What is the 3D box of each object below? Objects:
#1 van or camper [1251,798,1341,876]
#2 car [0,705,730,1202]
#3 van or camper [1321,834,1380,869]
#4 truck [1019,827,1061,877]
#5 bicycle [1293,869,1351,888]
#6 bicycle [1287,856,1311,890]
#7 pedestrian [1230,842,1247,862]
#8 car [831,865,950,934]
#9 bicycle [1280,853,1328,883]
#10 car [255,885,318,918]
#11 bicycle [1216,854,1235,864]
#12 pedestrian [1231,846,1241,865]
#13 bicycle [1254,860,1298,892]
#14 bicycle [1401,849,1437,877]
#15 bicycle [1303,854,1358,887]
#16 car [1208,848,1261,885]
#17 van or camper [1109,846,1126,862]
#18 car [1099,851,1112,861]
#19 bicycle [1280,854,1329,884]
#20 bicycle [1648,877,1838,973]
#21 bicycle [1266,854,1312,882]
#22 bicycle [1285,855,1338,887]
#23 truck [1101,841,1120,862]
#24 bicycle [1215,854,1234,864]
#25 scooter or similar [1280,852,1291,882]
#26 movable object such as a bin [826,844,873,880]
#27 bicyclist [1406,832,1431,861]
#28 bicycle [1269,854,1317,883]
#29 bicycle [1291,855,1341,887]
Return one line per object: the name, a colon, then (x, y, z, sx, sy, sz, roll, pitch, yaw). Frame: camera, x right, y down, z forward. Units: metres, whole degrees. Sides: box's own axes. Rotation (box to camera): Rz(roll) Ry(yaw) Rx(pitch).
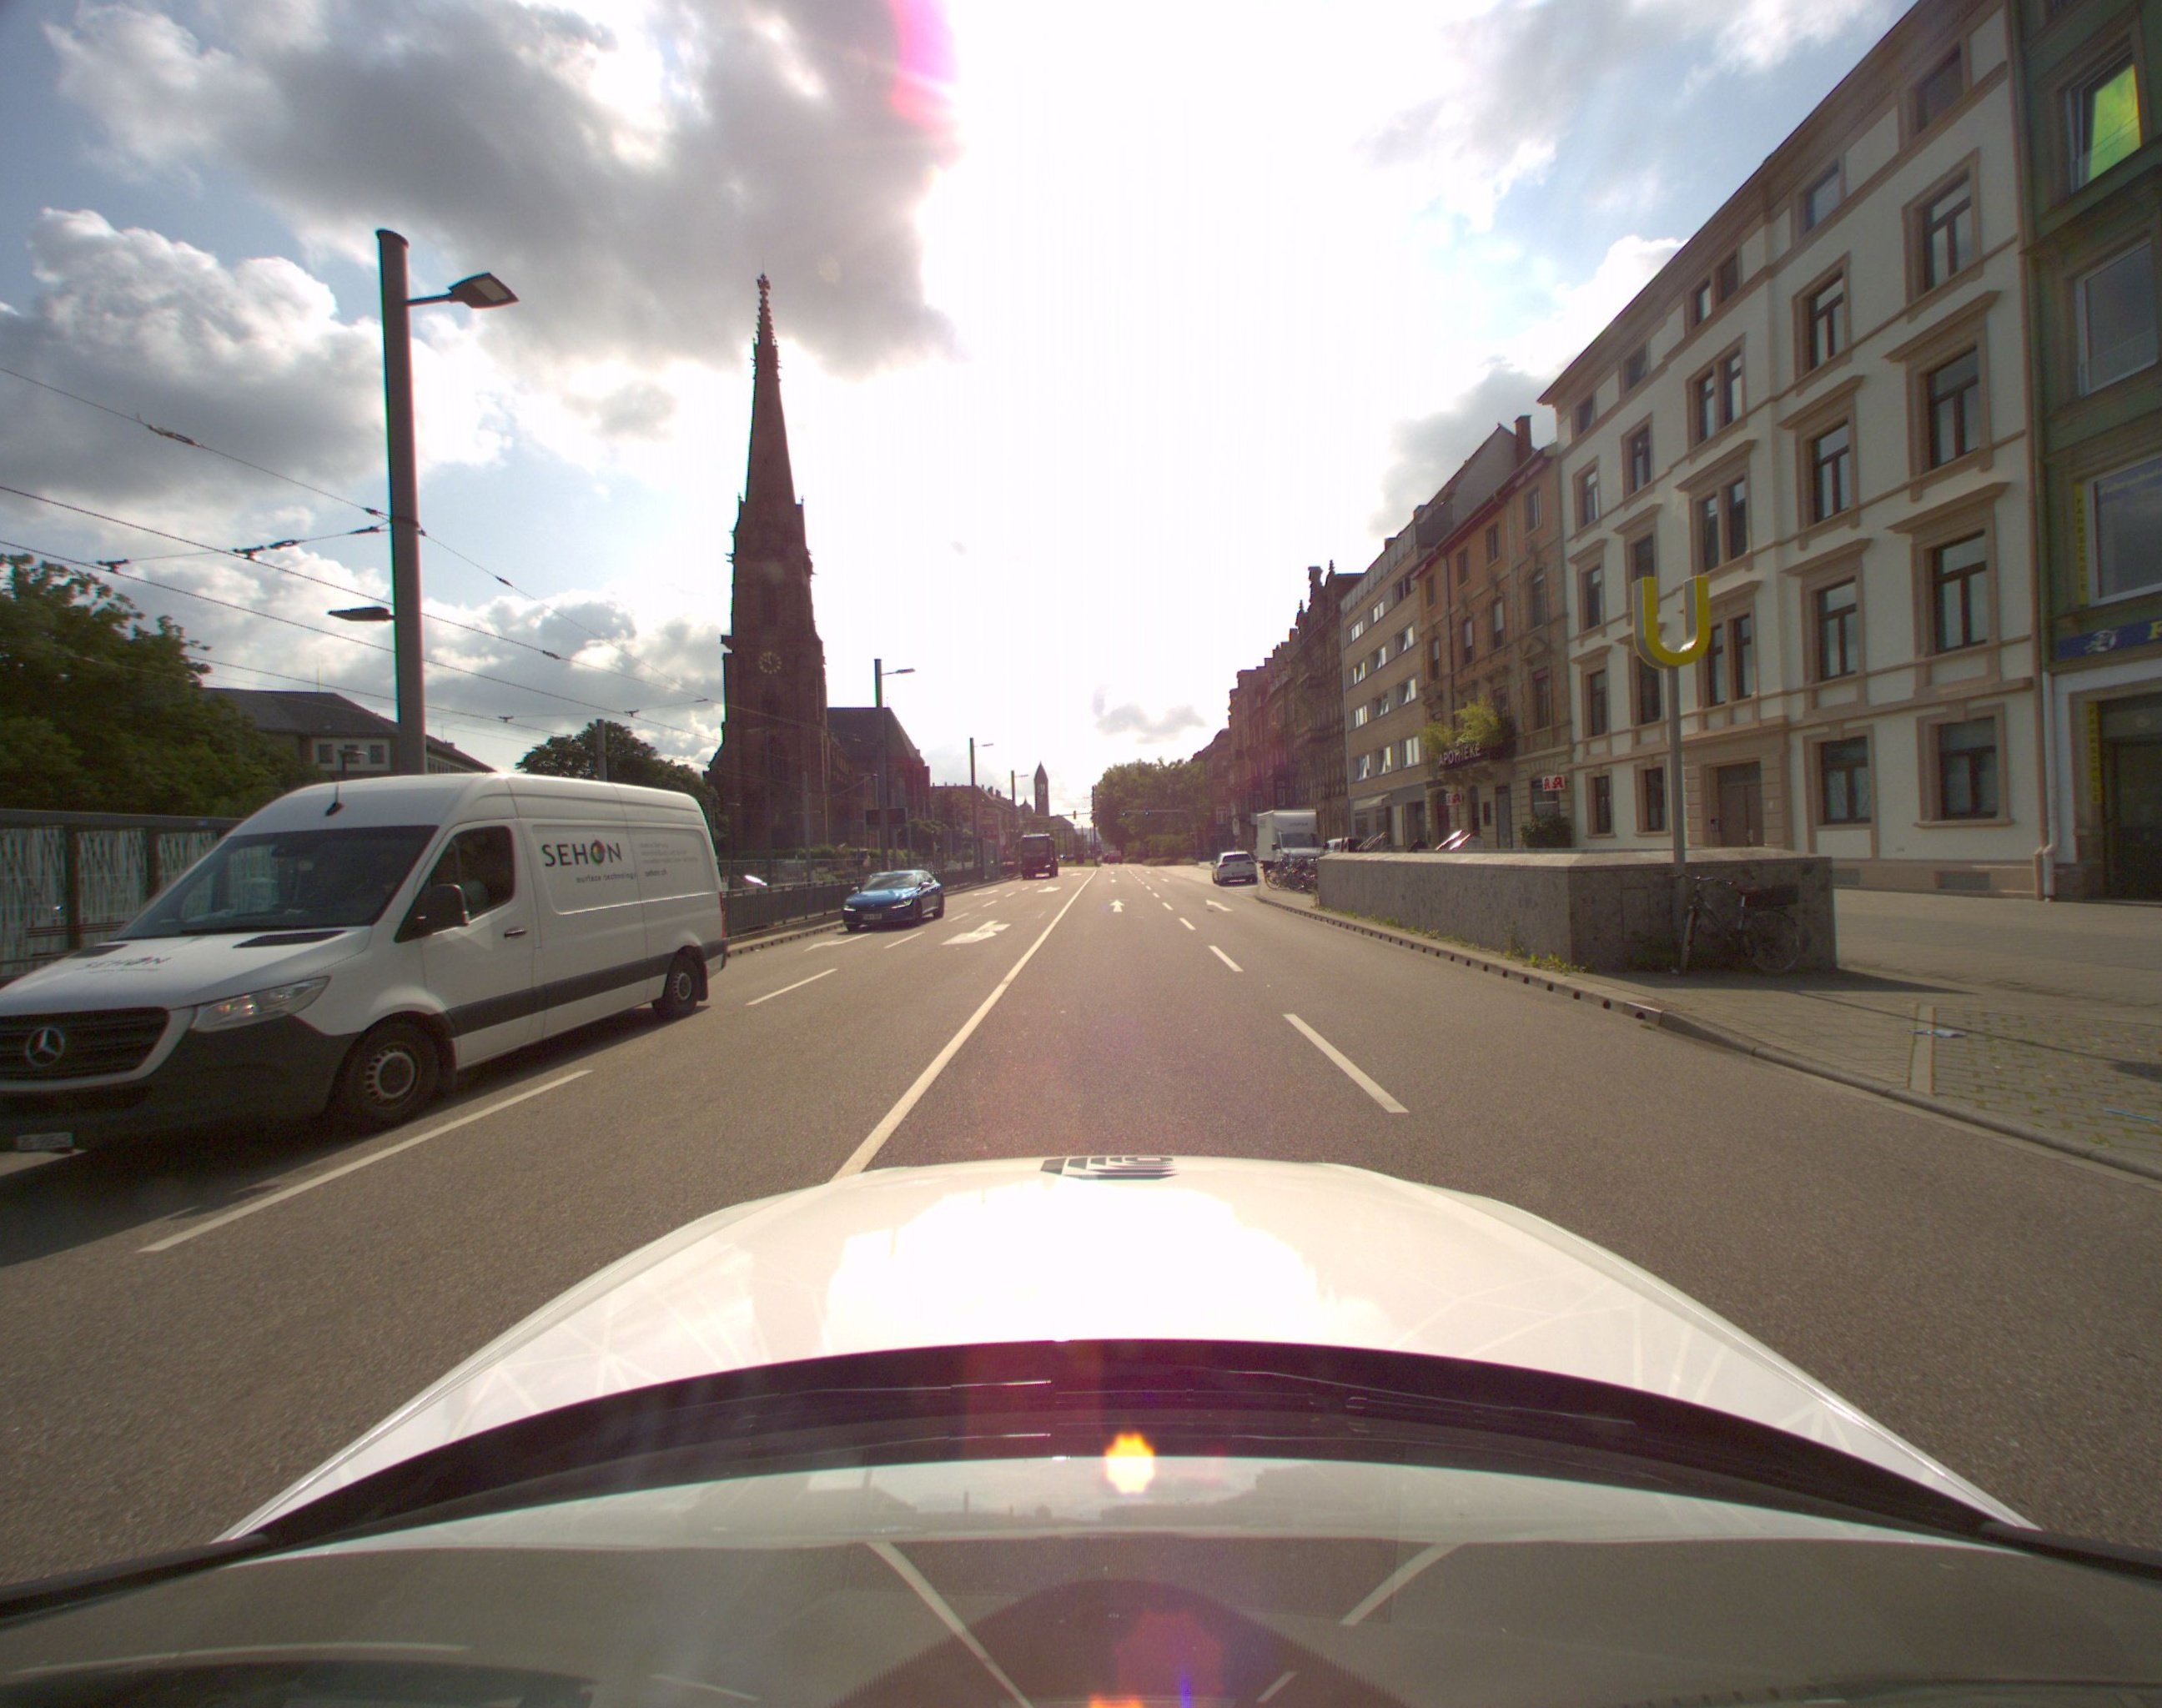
van or camper: (10.319, -0.712, 39.875, 2.700, 3.331, 7.646, -3, 0, 3)
car: (-5.460, 0.568, 7.234, 1.986, 2.621, 5.582, -4, 0, 2)
van or camper: (16.662, -0.166, 50.661, 1.986, 1.905, 5.300, -5, 0, 2)
truck: (-3.148, -0.170, 64.514, 2.453, 3.648, 7.454, -2, 0, 2)
bicycle: (7.945, 0.814, 26.912, 0.641, 0.586, 1.750, -2, -1, -38)
bicycle: (7.381, 0.625, 27.605, 0.370, 1.071, 1.765, -1, 1, 2)
pedestrian: (10.897, -0.133, 56.314, 0.748, 1.316, 0.812, 0, -1, -37)
car: (-4.955, 1.129, 21.857, 1.842, 1.455, 4.558, -4, 0, 3)
bicycle: (8.503, 0.532, 31.068, 1.758, 1.085, 0.371, -2, 1, -11)
car: (-51.451, 3.094, 52.842, 2.006, 2.014, 3.960, 0, -3, -31)
bicycle: (17.823, 0.599, 100.359, 2.184, 1.181, 0.683, -2, 0, -3)
pedestrian: (17.084, 0.149, 89.827, 0.882, 2.014, 0.996, 0, -1, 2)
bicycle: (7.130, 0.788, 29.792, 1.600, 1.085, 0.370, -2, 1, -18)
bicycle: (13.978, 0.391, 33.754, 0.701, 1.048, 2.210, 0, -4, 4)
bicycle: (8.577, 0.552, 28.015, 1.750, 1.085, 0.373, -1, 1, 4)
car: (6.999, 0.572, 37.555, 1.783, 1.437, 4.347, -6, -1, 4)
van or camper: (5.152, 0.060, 115.474, 2.004, 1.915, 4.518, 0, -4, -2)
car: (3.808, 0.291, 127.787, 1.987, 1.508, 4.000, -2, 0, 0)
bicycle: (8.389, 0.555, 30.570, 1.758, 1.085, 0.371, -2, 1, -11)
bicycle: (7.222, 0.759, 8.903, 1.770, 1.004, 0.512, 0, -1, -6)
bicycle: (8.289, 0.559, 32.511, 1.755, 1.085, 0.372, -1, 1, -4)
bicycle: (8.127, 0.586, 28.693, 1.750, 1.085, 0.373, -1, 1, 4)
truck: (5.290, -0.420, 147.886, 3.159, 3.287, 7.295, -1, -4, 1)
bicycle: (17.771, 0.649, 101.098, 2.184, 1.181, 0.683, -2, 0, -3)
scooter or similar: (8.482, 0.526, 33.780, 0.366, 1.213, 1.256, 0, 0, 11)
movable object such as a bin: (-25.415, 0.852, 89.751, 2.649, 3.730, 5.609, -2, 0, 10)
bicyclist: (13.975, -0.298, 33.769, 0.704, 1.148, 0.814, 0, -4, 4)
bicycle: (8.346, 0.578, 32.078, 1.755, 1.085, 0.372, -1, 1, -4)
bicycle: (8.585, 0.611, 29.724, 1.757, 1.085, 0.371, -2, 1, -8)
